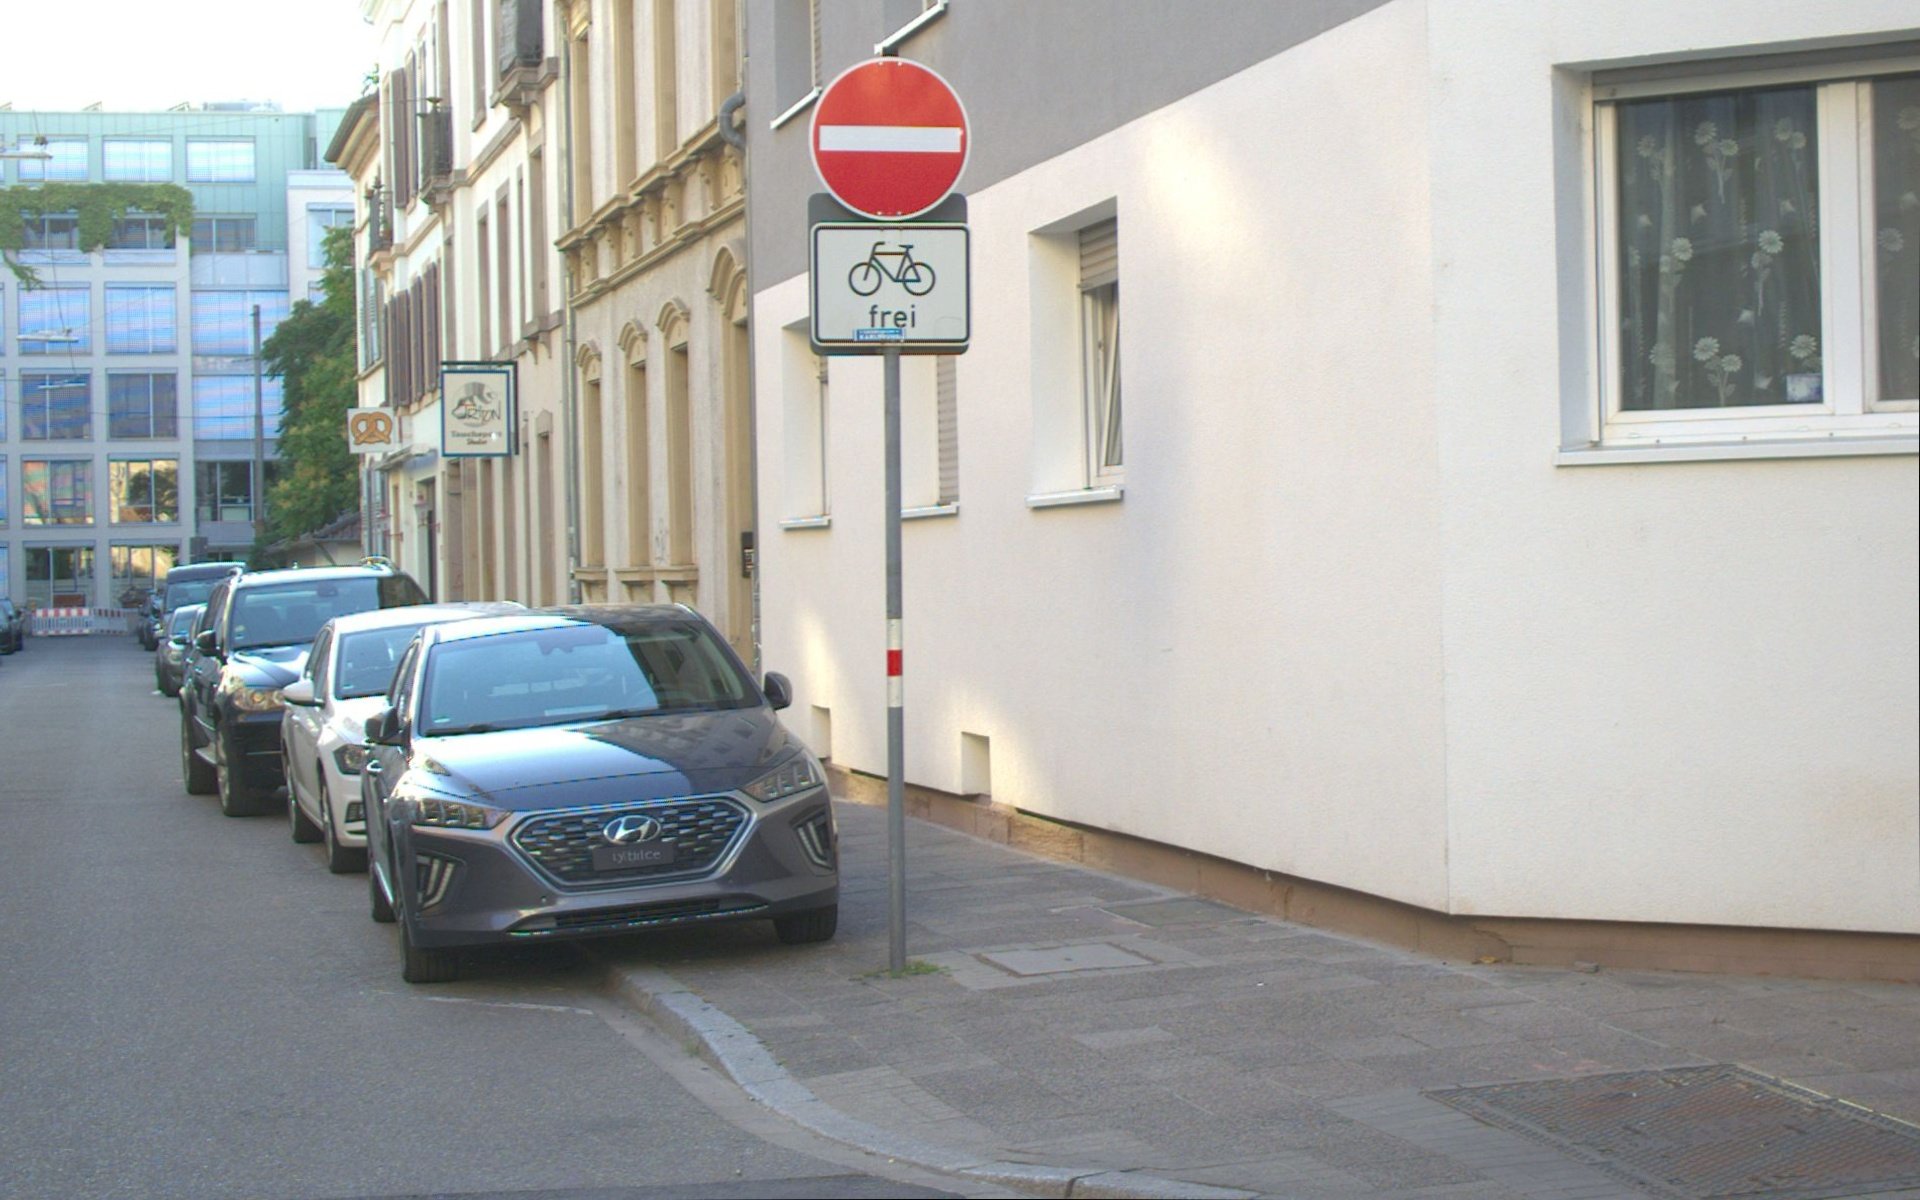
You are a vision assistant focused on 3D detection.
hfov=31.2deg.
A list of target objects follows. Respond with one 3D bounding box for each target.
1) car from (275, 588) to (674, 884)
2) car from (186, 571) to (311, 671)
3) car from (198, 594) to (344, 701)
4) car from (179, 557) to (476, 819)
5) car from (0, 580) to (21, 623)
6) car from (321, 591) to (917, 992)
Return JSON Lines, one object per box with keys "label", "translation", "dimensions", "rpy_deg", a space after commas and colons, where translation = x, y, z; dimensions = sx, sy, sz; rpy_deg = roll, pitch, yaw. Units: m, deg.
{"label": "car", "translation": [-3.026, 0.729, 20.772], "dimensions": [1.963, 1.552, 3.890], "rpy_deg": [-1, 1, -14]}
{"label": "car", "translation": [-12.631, 0.339, 60.889], "dimensions": [1.993, 1.694, 4.001], "rpy_deg": [-1, 1, -14]}
{"label": "car", "translation": [-10.151, 0.662, 50.492], "dimensions": [1.993, 1.446, 4.001], "rpy_deg": [-1, 1, -13]}
{"label": "car", "translation": [-4.840, 0.590, 25.914], "dimensions": [1.893, 1.778, 4.001], "rpy_deg": [-1, 1, -14]}
{"label": "car", "translation": [-30.050, 0.049, 106.158], "dimensions": [1.993, 1.305, 3.883], "rpy_deg": [-1, 1, -15]}
{"label": "car", "translation": [-1.612, 0.709, 14.866], "dimensions": [1.937, 1.367, 3.790], "rpy_deg": [-3, 1, -15]}
